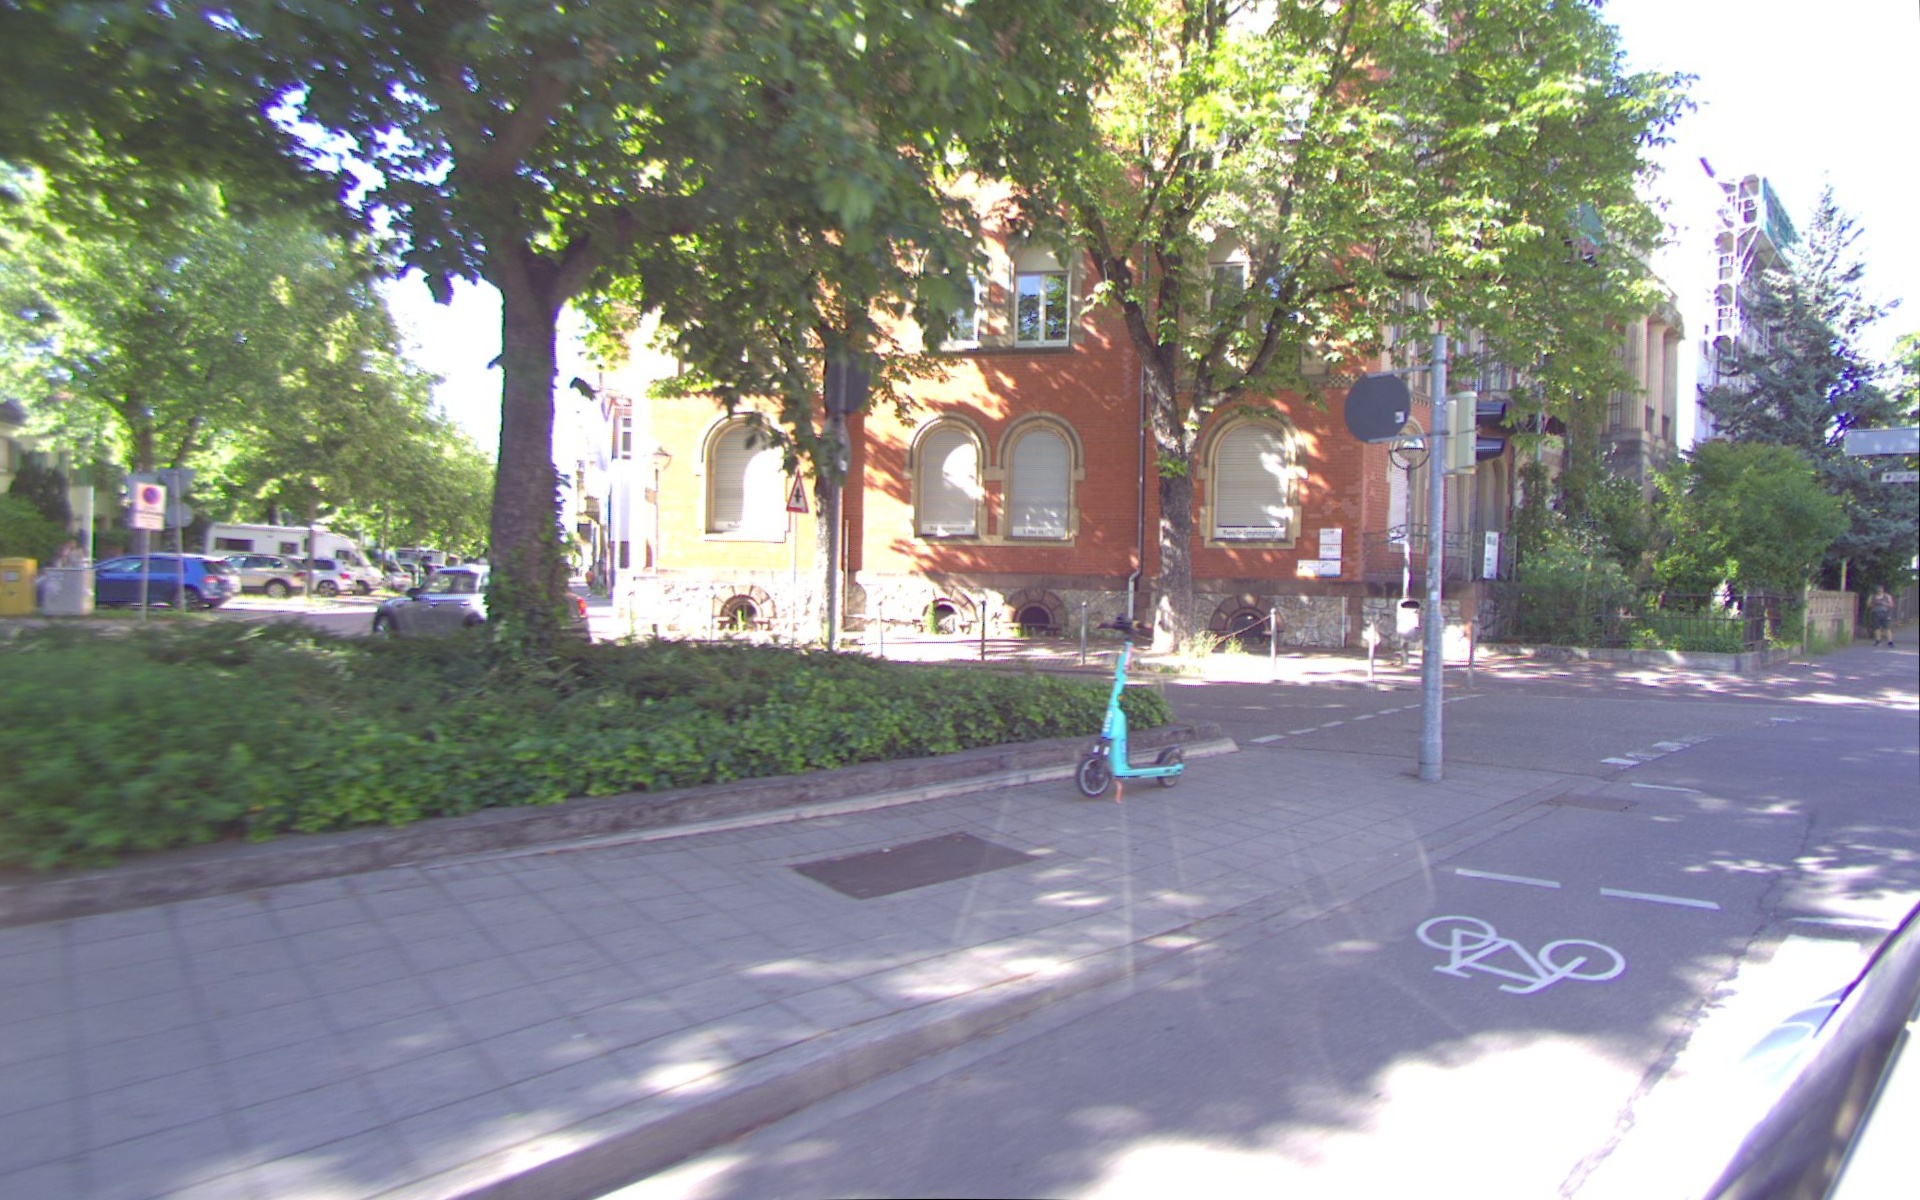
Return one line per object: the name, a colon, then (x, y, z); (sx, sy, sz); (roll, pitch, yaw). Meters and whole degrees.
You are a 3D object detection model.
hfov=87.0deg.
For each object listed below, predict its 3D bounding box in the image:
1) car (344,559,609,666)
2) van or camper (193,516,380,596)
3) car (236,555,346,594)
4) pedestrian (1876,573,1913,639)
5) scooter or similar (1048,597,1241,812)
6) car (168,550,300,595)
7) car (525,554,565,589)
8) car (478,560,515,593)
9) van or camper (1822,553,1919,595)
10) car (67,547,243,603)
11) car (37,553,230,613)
car: (-7.618, 0.143, 15.900); (3.963, 1.506, 1.804); (0, 1, 29)
van or camper: (-30.240, -1.948, 45.776); (6.637, 3.428, 2.635); (-1, 1, -24)
car: (-27.650, -1.067, 41.957); (3.727, 1.544, 1.604); (-1, 1, -31)
pedestrian: (24.746, 0.154, 26.803); (0.635, 1.691, 0.593); (-1, 3, -41)
scooter or similar: (1.310, 0.659, 7.073); (1.306, 1.326, 0.677); (-1, 1, -42)
car: (-26.091, -0.991, 36.513); (3.727, 1.544, 1.604); (-1, 1, -31)
car: (-22.178, -1.517, 53.973); (1.788, 1.771, 4.007); (-1, 1, -25)
car: (-25.893, -1.301, 56.519); (1.788, 1.771, 4.007); (-1, 1, -25)
van or camper: (61.273, -1.689, 66.656); (2.078, 2.660, 6.752); (-1, 1, -17)
car: (-22.872, -0.715, 28.937); (3.727, 1.495, 1.604); (-1, 1, -31)
car: (-21.706, -0.474, 26.783); (3.727, 1.495, 1.604); (-1, 1, -31)
